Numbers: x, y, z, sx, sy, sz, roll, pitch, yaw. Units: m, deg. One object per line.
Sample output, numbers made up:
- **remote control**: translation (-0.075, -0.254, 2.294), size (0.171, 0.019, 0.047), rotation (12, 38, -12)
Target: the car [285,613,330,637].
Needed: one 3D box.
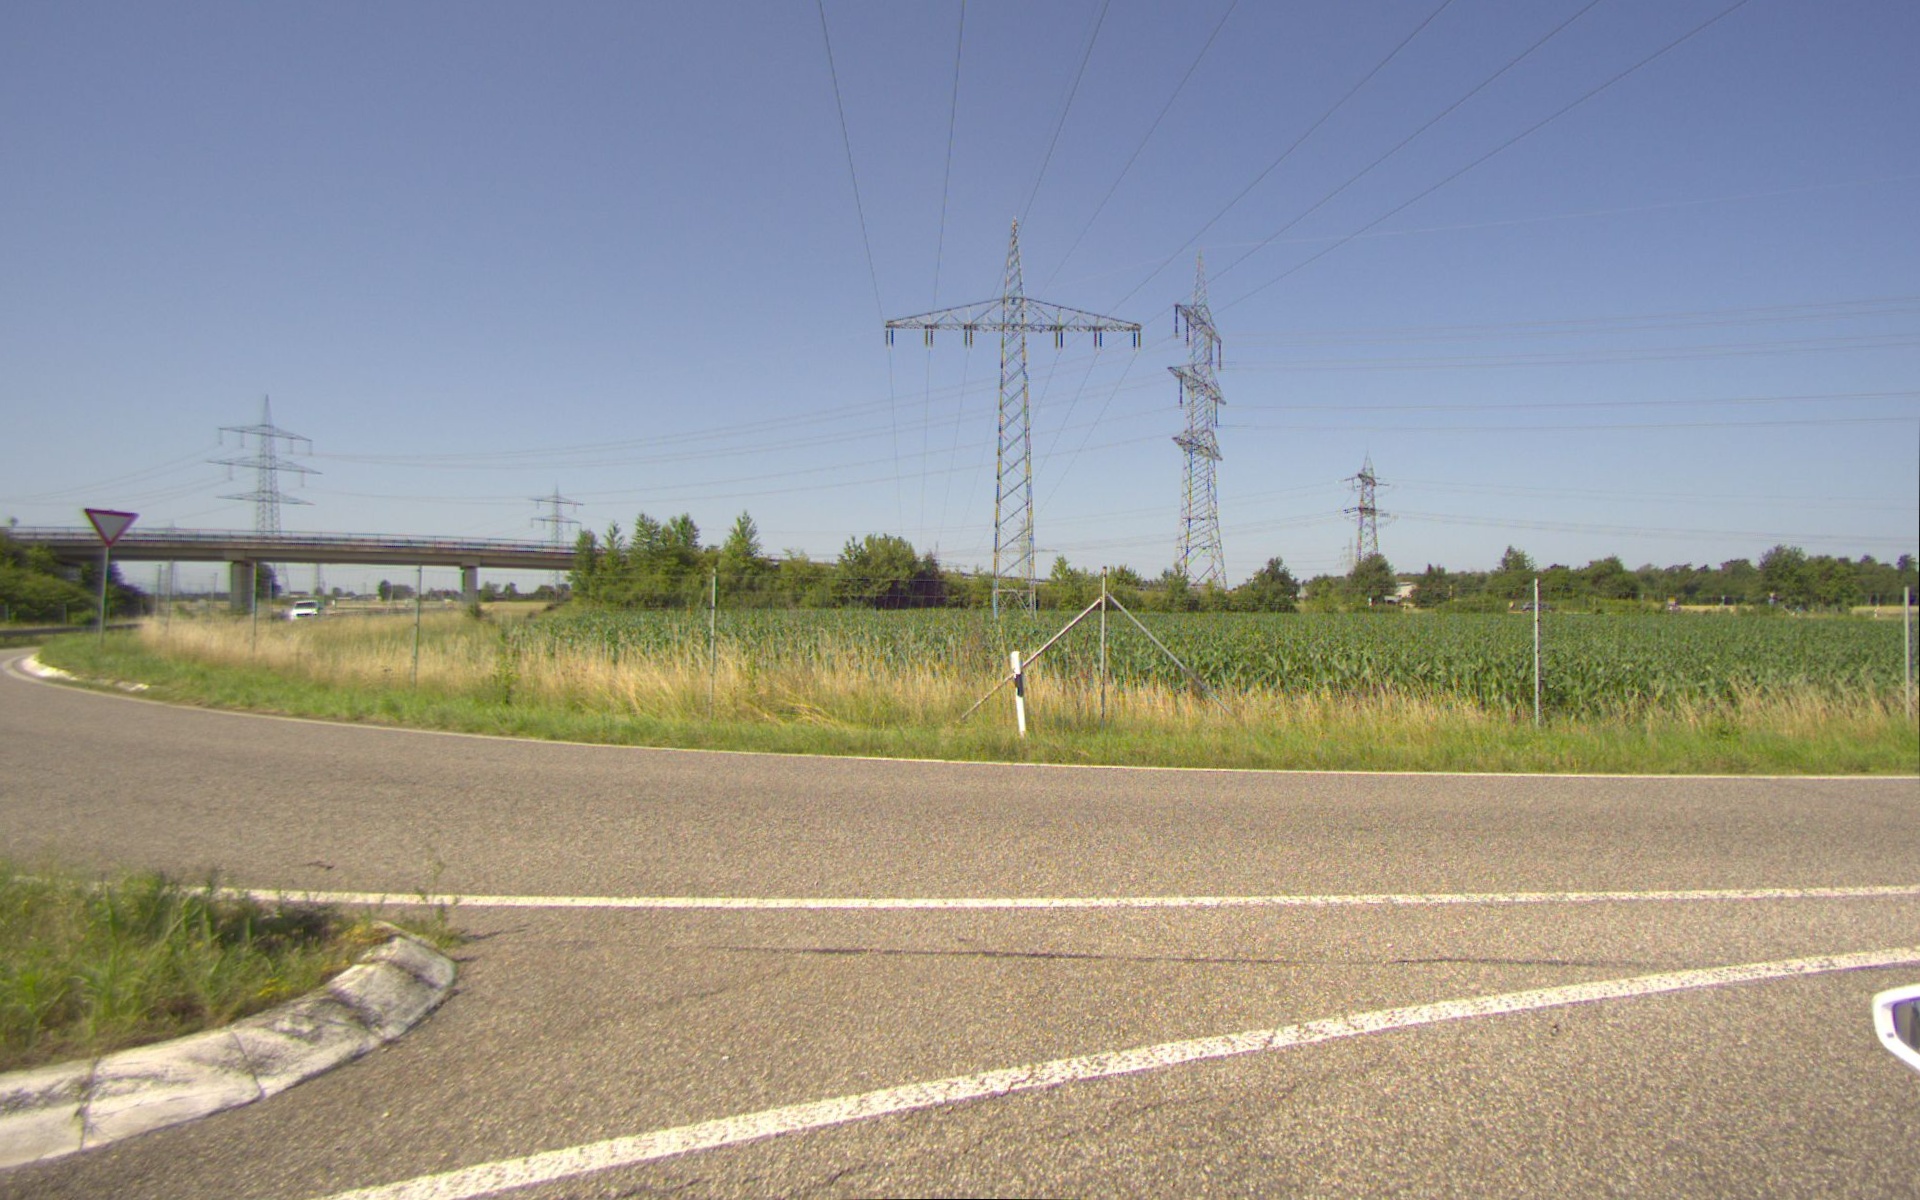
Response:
- **car**: translation (-52.266, 1.981, 80.585), size (2.072, 1.662, 5.324), rotation (0, 1, -22)
